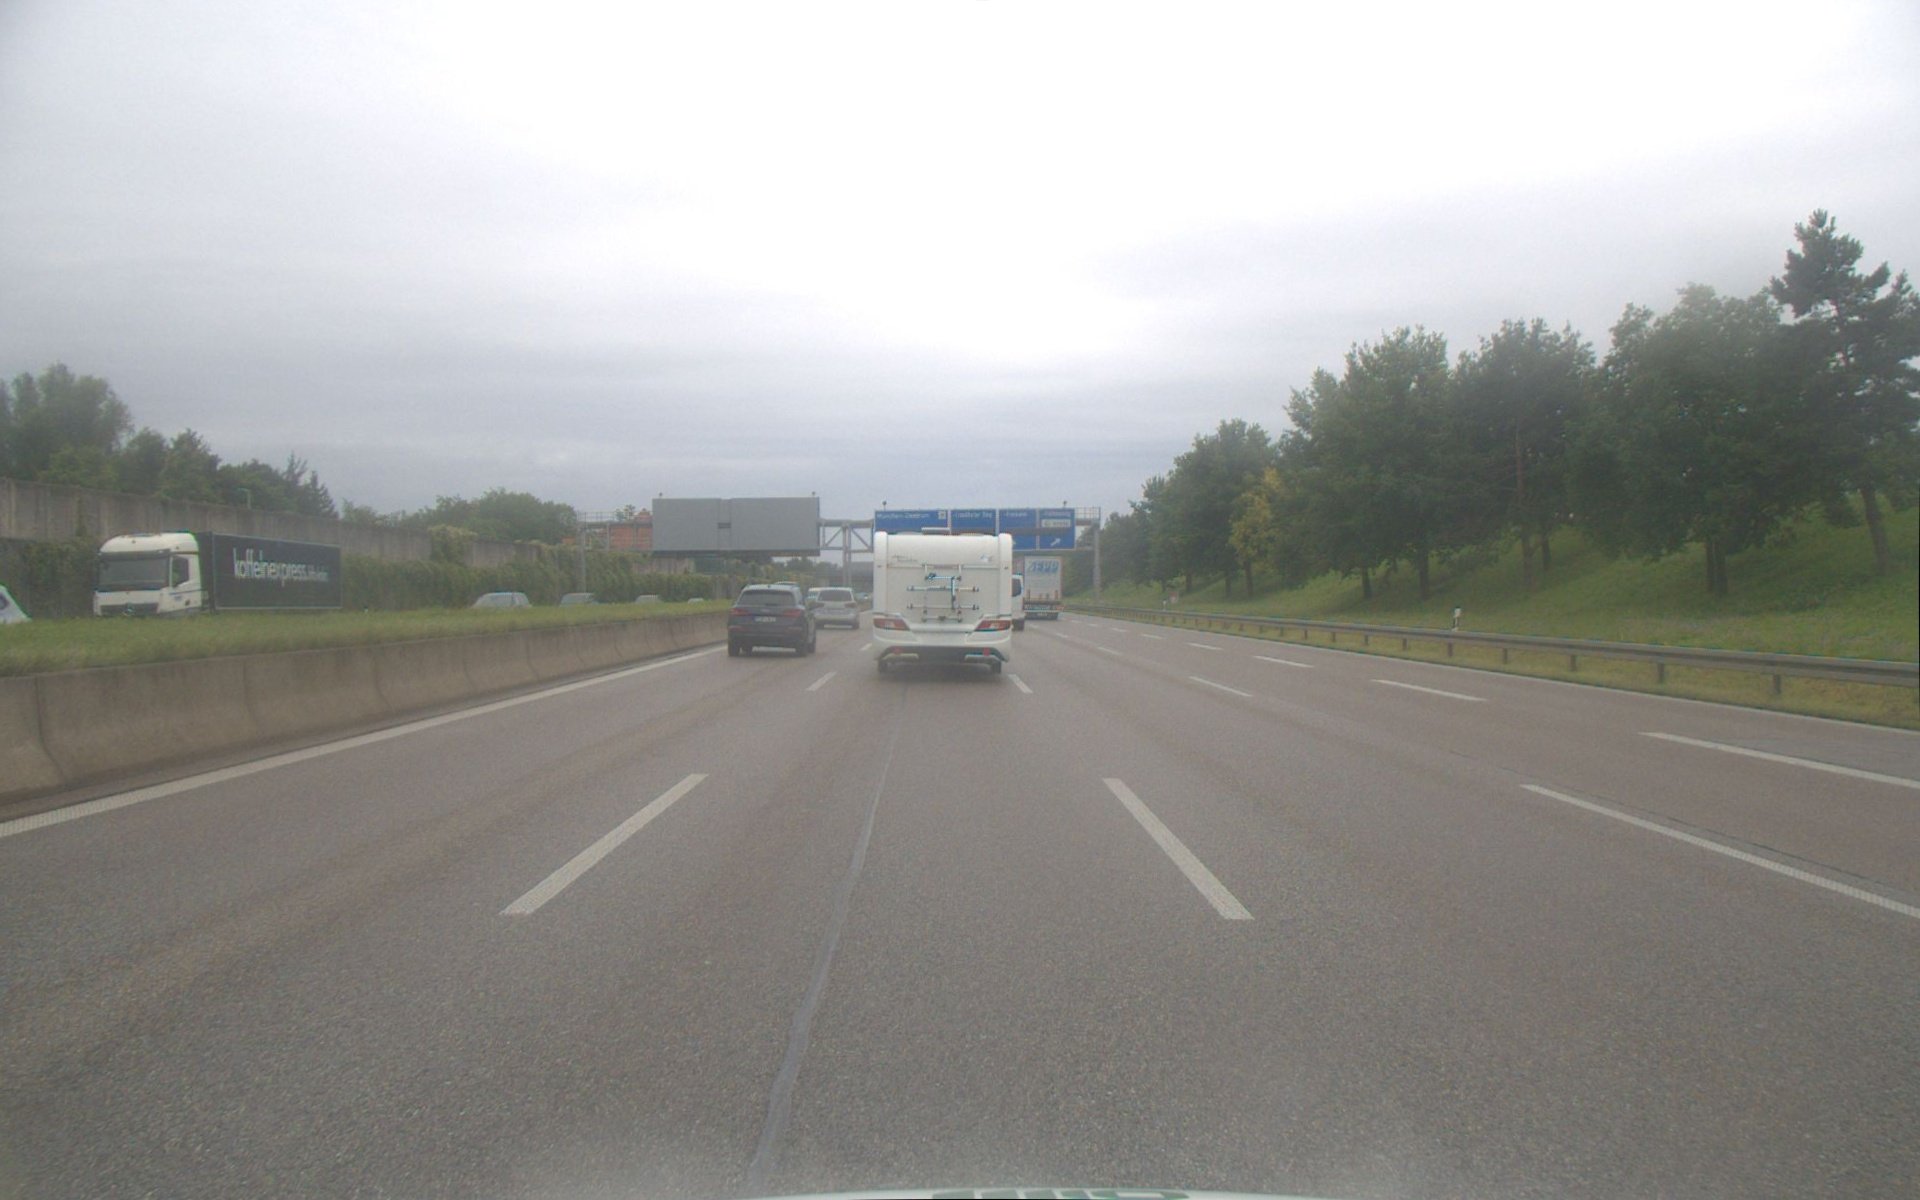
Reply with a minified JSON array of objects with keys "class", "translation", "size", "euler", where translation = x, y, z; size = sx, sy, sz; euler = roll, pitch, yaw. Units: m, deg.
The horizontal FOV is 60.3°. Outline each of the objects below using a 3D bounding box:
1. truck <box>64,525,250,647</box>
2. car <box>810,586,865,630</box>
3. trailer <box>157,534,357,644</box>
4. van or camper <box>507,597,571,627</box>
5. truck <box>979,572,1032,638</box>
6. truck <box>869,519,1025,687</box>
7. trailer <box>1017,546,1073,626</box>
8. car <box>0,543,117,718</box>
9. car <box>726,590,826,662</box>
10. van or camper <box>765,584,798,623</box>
[{"class":"truck","translation":[-23.708,-0.377,49.228],"size":[2.268,3.330,6.581],"euler":[1,0,0]},{"class":"car","translation":[-5.100,0.344,69.281],"size":[2.085,1.736,4.111],"euler":[2,0,-2]},{"class":"trailer","translation":[-23.690,-0.324,56.528],"size":[2.259,3.347,10.562],"euler":[1,0,0]},{"class":"van or camper","translation":[-26.900,0.753,106.020],"size":[2.147,1.832,8.434],"euler":[1,0,-2]},{"class":"truck","translation":[2.002,0.223,73.839],"size":[2.012,2.818,5.547],"euler":[1,0,-1]},{"class":"truck","translation":[-0.280,0.060,30.686],"size":[2.607,2.790,5.076],"euler":[1,0,-2]},{"class":"trailer","translation":[5.576,-0.877,110.504],"size":[3.036,5.008,11.789],"euler":[1,0,0]},{"class":"car","translation":[-12.284,0.341,19.912],"size":[2.078,2.049,4.517],"euler":[1,0,-2]},{"class":"car","translation":[-4.379,0.599,40.070],"size":[1.953,1.628,5.122],"euler":[0,0,-2]},{"class":"van or camper","translation":[-18.982,0.331,176.674],"size":[2.653,4.017,8.400],"euler":[1,0,-1]}]
